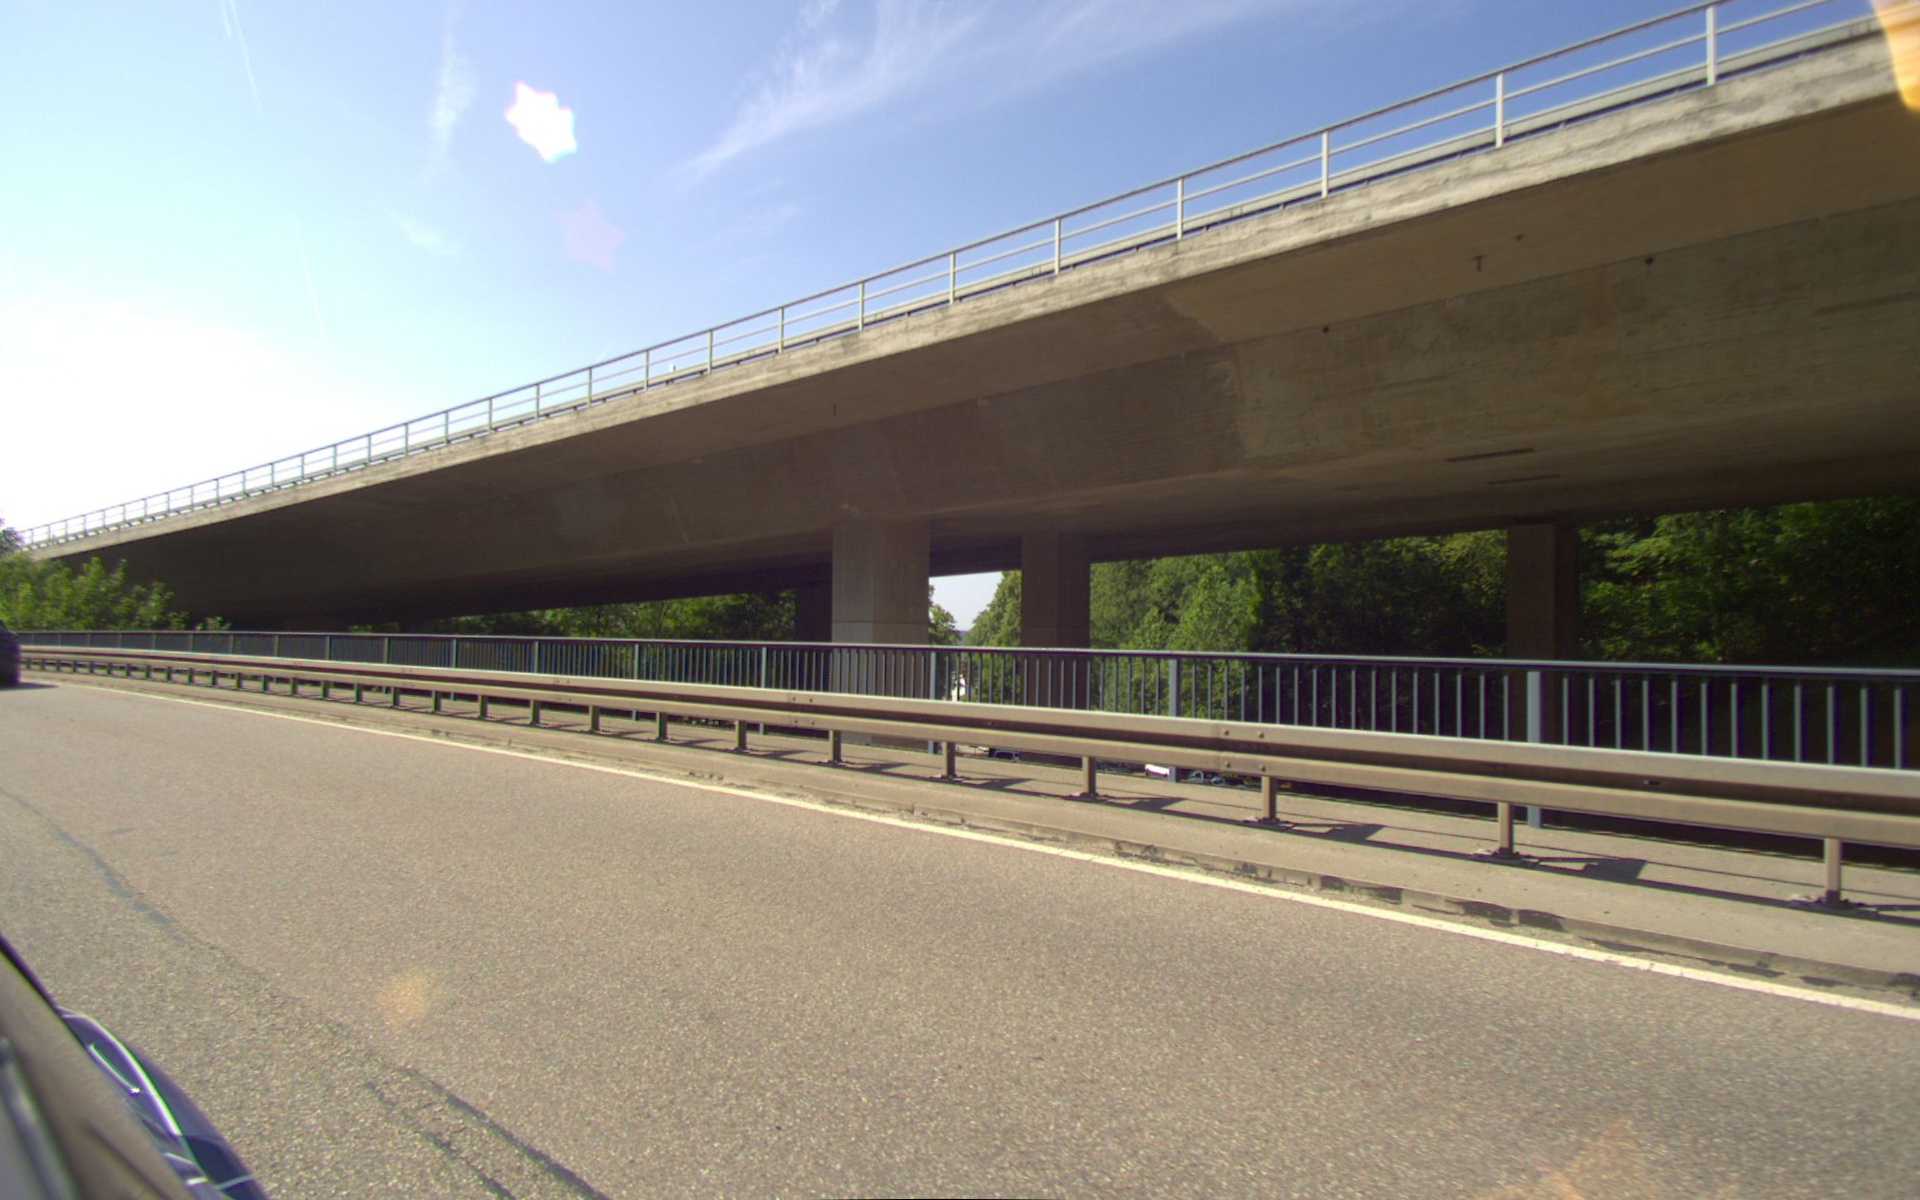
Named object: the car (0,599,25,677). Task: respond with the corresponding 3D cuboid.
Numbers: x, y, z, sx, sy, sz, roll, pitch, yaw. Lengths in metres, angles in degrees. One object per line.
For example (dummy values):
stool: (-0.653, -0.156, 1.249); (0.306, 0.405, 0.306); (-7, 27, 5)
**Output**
car: (-21.921, 0.821, 21.703); (4.545, 1.593, 1.881); (-1, 0, 36)
